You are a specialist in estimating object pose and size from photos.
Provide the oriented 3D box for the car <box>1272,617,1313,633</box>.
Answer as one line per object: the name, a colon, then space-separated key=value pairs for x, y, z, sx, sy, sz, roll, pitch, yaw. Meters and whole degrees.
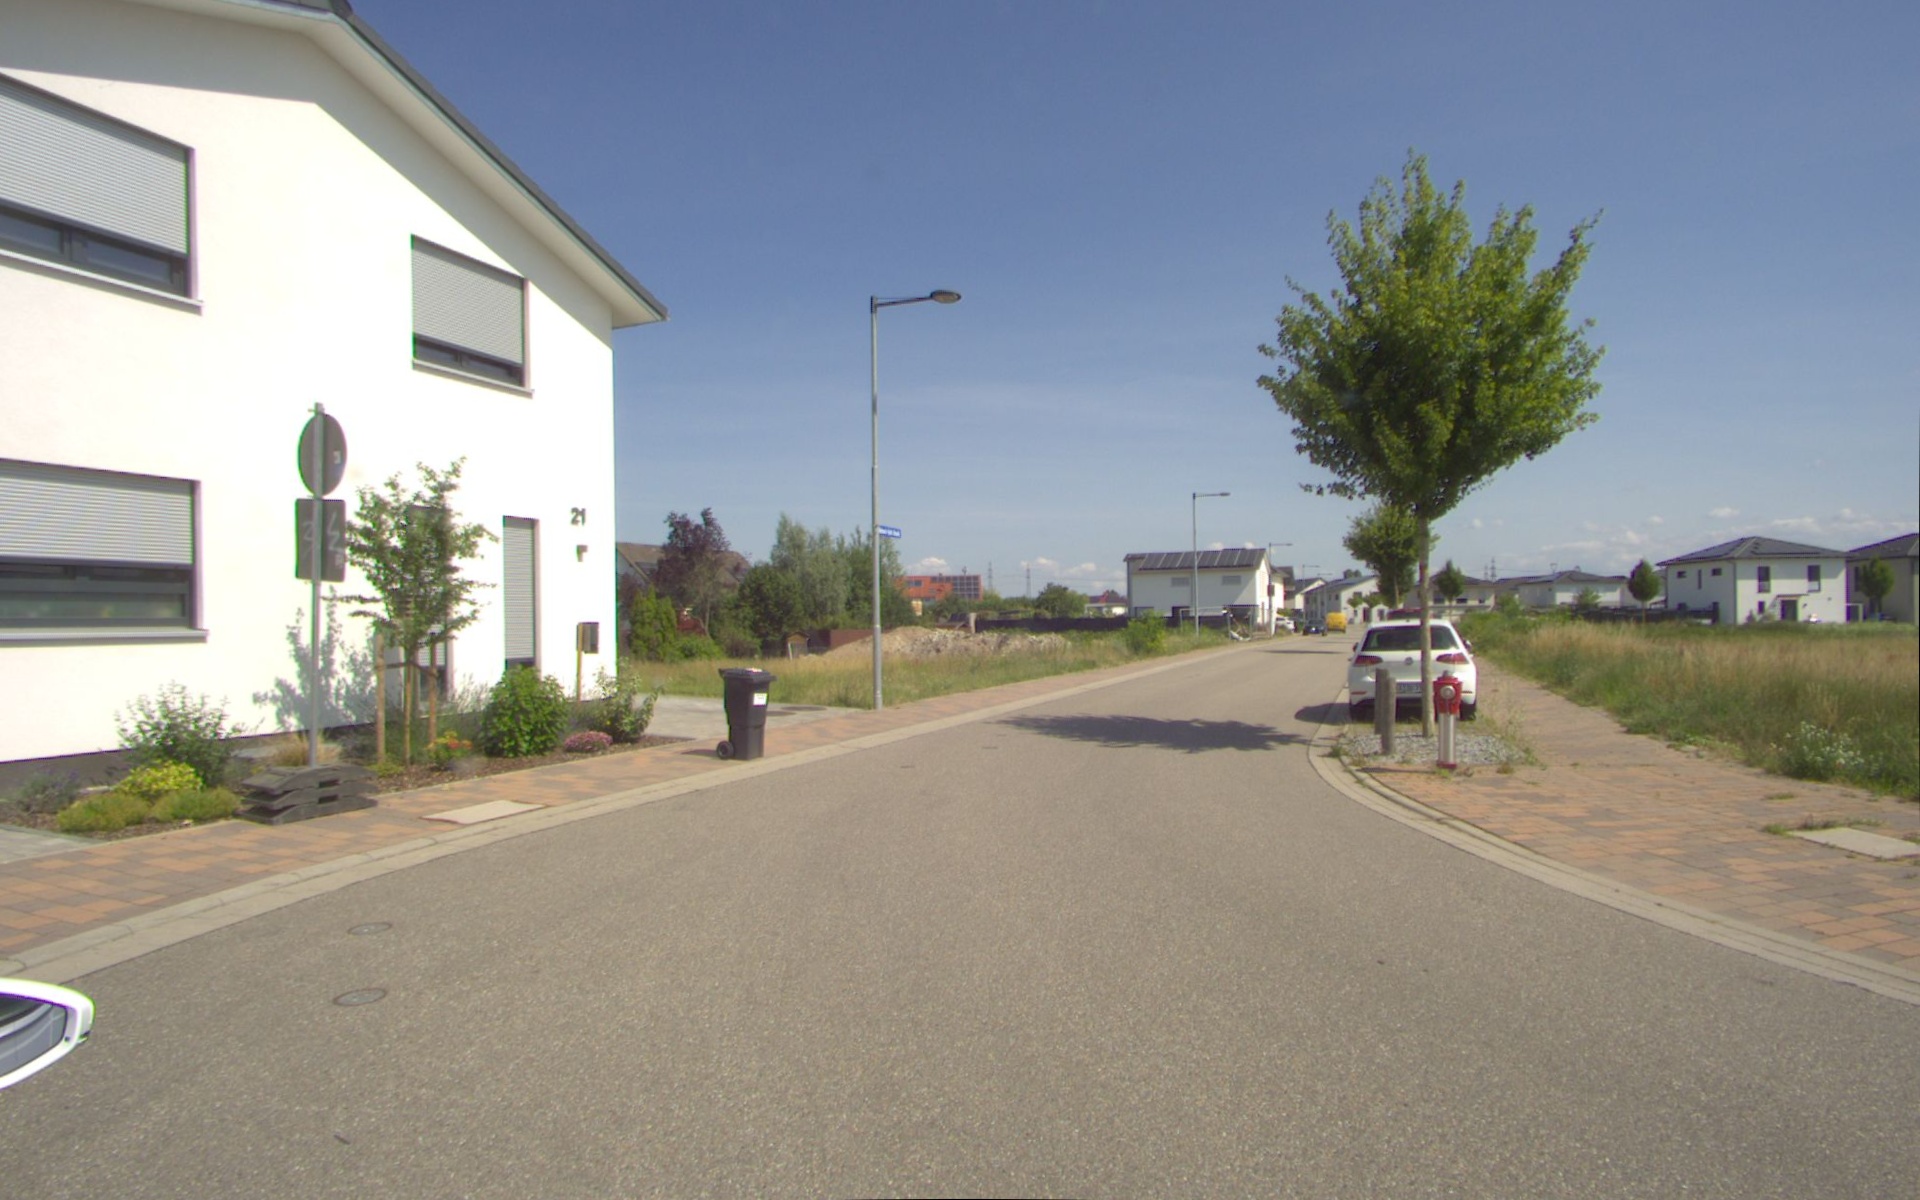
car: x=37.867 y=2.805 z=114.109 sx=4.094 sy=1.524 sz=1.815 roll=4 pitch=0 yaw=8

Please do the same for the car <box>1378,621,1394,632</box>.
car: x=57.700 y=3.614 z=135.690 sx=1.604 sy=1.338 sz=3.831 roll=0 pitch=-3 yaw=17

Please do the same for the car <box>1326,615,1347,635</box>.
car: x=38.405 y=2.573 z=102.101 sx=1.914 sy=2.006 sz=4.210 roll=-1 pitch=-2 yaw=20

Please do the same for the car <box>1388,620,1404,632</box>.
car: x=51.422 y=3.089 z=118.157 sx=1.617 sy=1.420 sz=3.803 roll=-1 pitch=-3 yaw=22

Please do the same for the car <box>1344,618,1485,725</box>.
car: x=7.200 y=1.046 z=15.971 sx=1.752 sy=1.438 sz=4.153 roll=-3 pitch=-2 yaw=24

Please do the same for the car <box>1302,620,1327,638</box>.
car: x=29.823 y=2.425 z=84.119 sx=1.721 sy=1.423 sz=4.149 roll=2 pitch=0 yaw=23

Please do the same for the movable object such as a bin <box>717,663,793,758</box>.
movable object such as a bin: x=-2.166 y=1.151 z=10.590 sx=0.614 sy=0.960 sz=0.499 roll=0 pitch=-1 yaw=19

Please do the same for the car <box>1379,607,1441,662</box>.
car: x=15.070 y=1.120 z=33.702 sx=1.753 sy=1.684 sz=4.422 roll=-2 pitch=-1 yaw=23
